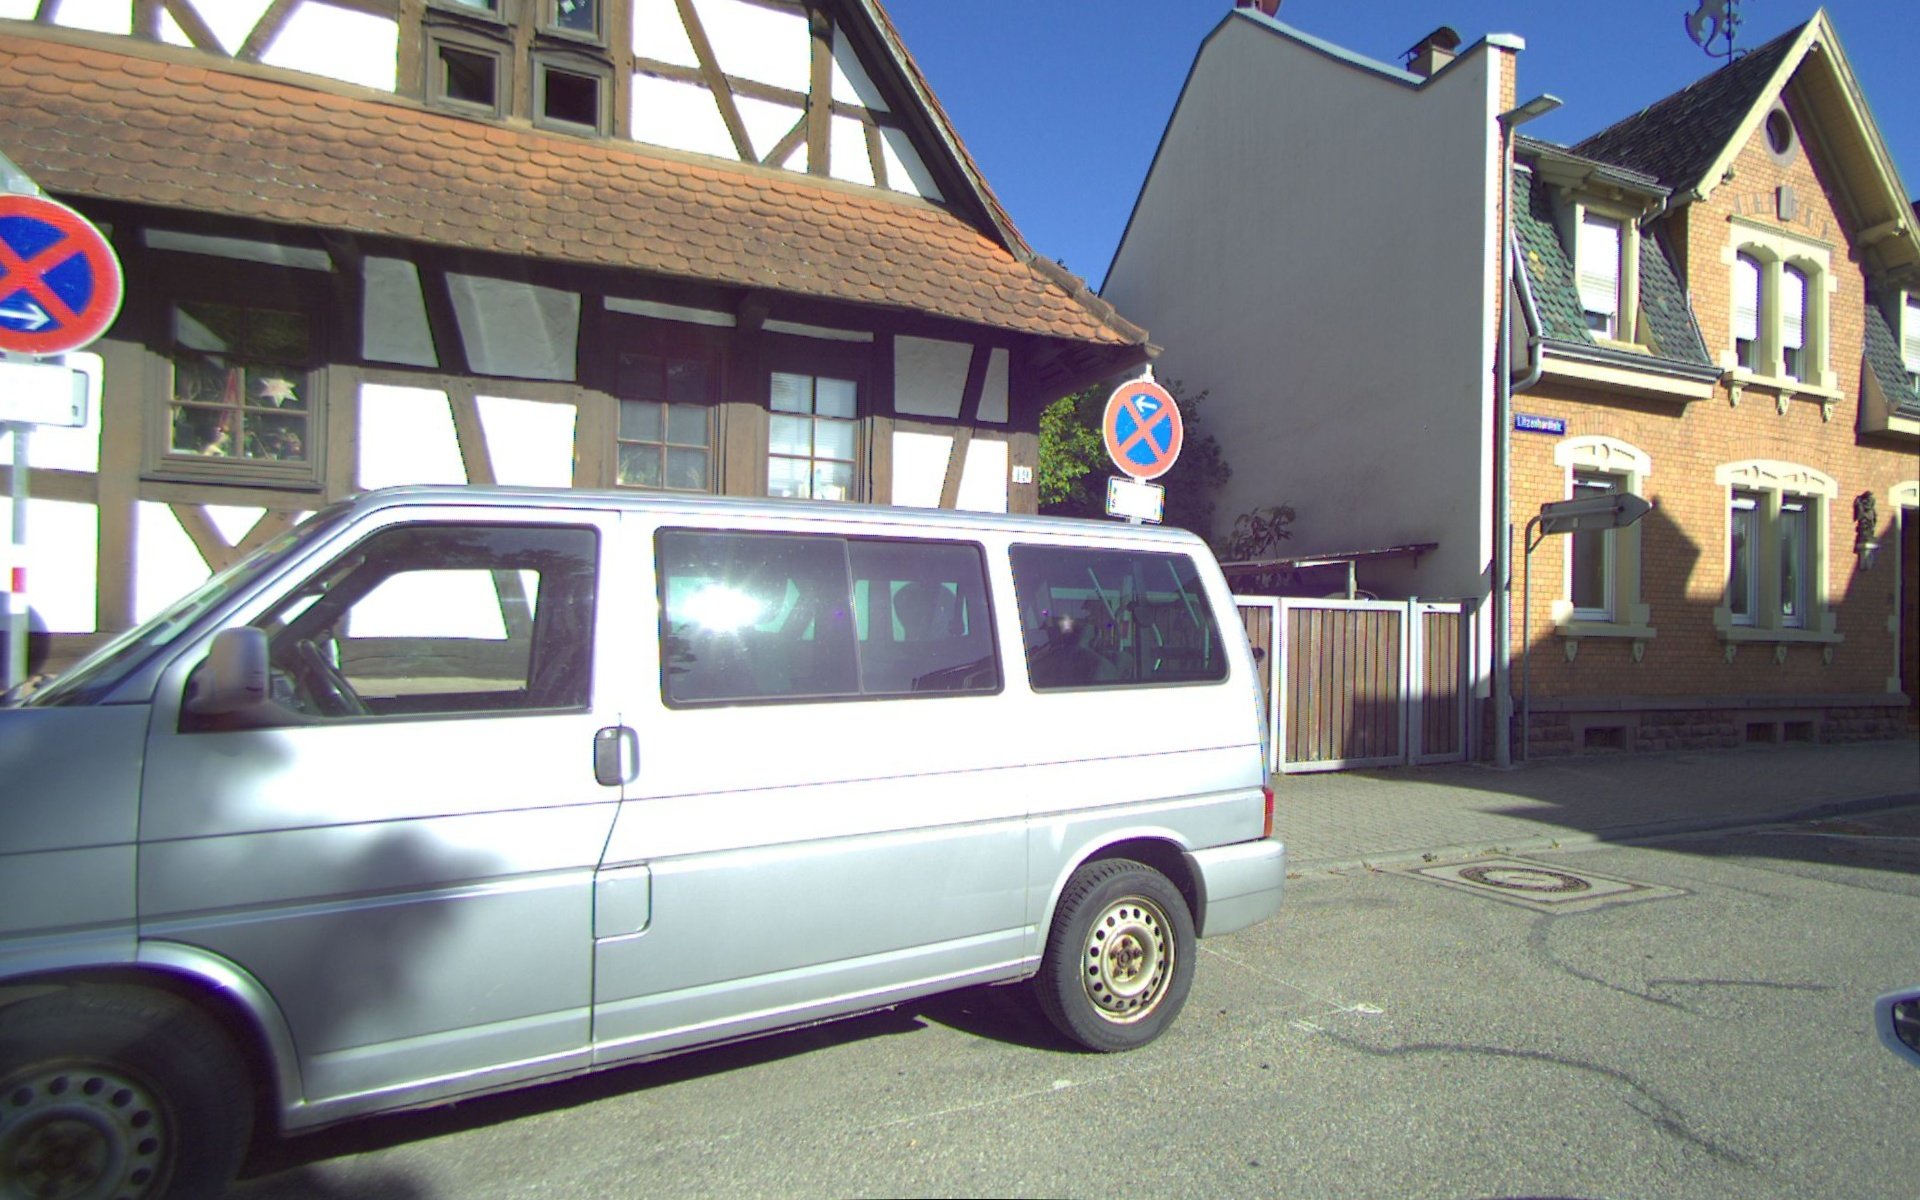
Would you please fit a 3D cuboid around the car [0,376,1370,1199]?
[{"bbox_3d":[-0.877,0.594,3.625,4.779,1.905,1.867,2,-3,-30],"label":"car"}]
